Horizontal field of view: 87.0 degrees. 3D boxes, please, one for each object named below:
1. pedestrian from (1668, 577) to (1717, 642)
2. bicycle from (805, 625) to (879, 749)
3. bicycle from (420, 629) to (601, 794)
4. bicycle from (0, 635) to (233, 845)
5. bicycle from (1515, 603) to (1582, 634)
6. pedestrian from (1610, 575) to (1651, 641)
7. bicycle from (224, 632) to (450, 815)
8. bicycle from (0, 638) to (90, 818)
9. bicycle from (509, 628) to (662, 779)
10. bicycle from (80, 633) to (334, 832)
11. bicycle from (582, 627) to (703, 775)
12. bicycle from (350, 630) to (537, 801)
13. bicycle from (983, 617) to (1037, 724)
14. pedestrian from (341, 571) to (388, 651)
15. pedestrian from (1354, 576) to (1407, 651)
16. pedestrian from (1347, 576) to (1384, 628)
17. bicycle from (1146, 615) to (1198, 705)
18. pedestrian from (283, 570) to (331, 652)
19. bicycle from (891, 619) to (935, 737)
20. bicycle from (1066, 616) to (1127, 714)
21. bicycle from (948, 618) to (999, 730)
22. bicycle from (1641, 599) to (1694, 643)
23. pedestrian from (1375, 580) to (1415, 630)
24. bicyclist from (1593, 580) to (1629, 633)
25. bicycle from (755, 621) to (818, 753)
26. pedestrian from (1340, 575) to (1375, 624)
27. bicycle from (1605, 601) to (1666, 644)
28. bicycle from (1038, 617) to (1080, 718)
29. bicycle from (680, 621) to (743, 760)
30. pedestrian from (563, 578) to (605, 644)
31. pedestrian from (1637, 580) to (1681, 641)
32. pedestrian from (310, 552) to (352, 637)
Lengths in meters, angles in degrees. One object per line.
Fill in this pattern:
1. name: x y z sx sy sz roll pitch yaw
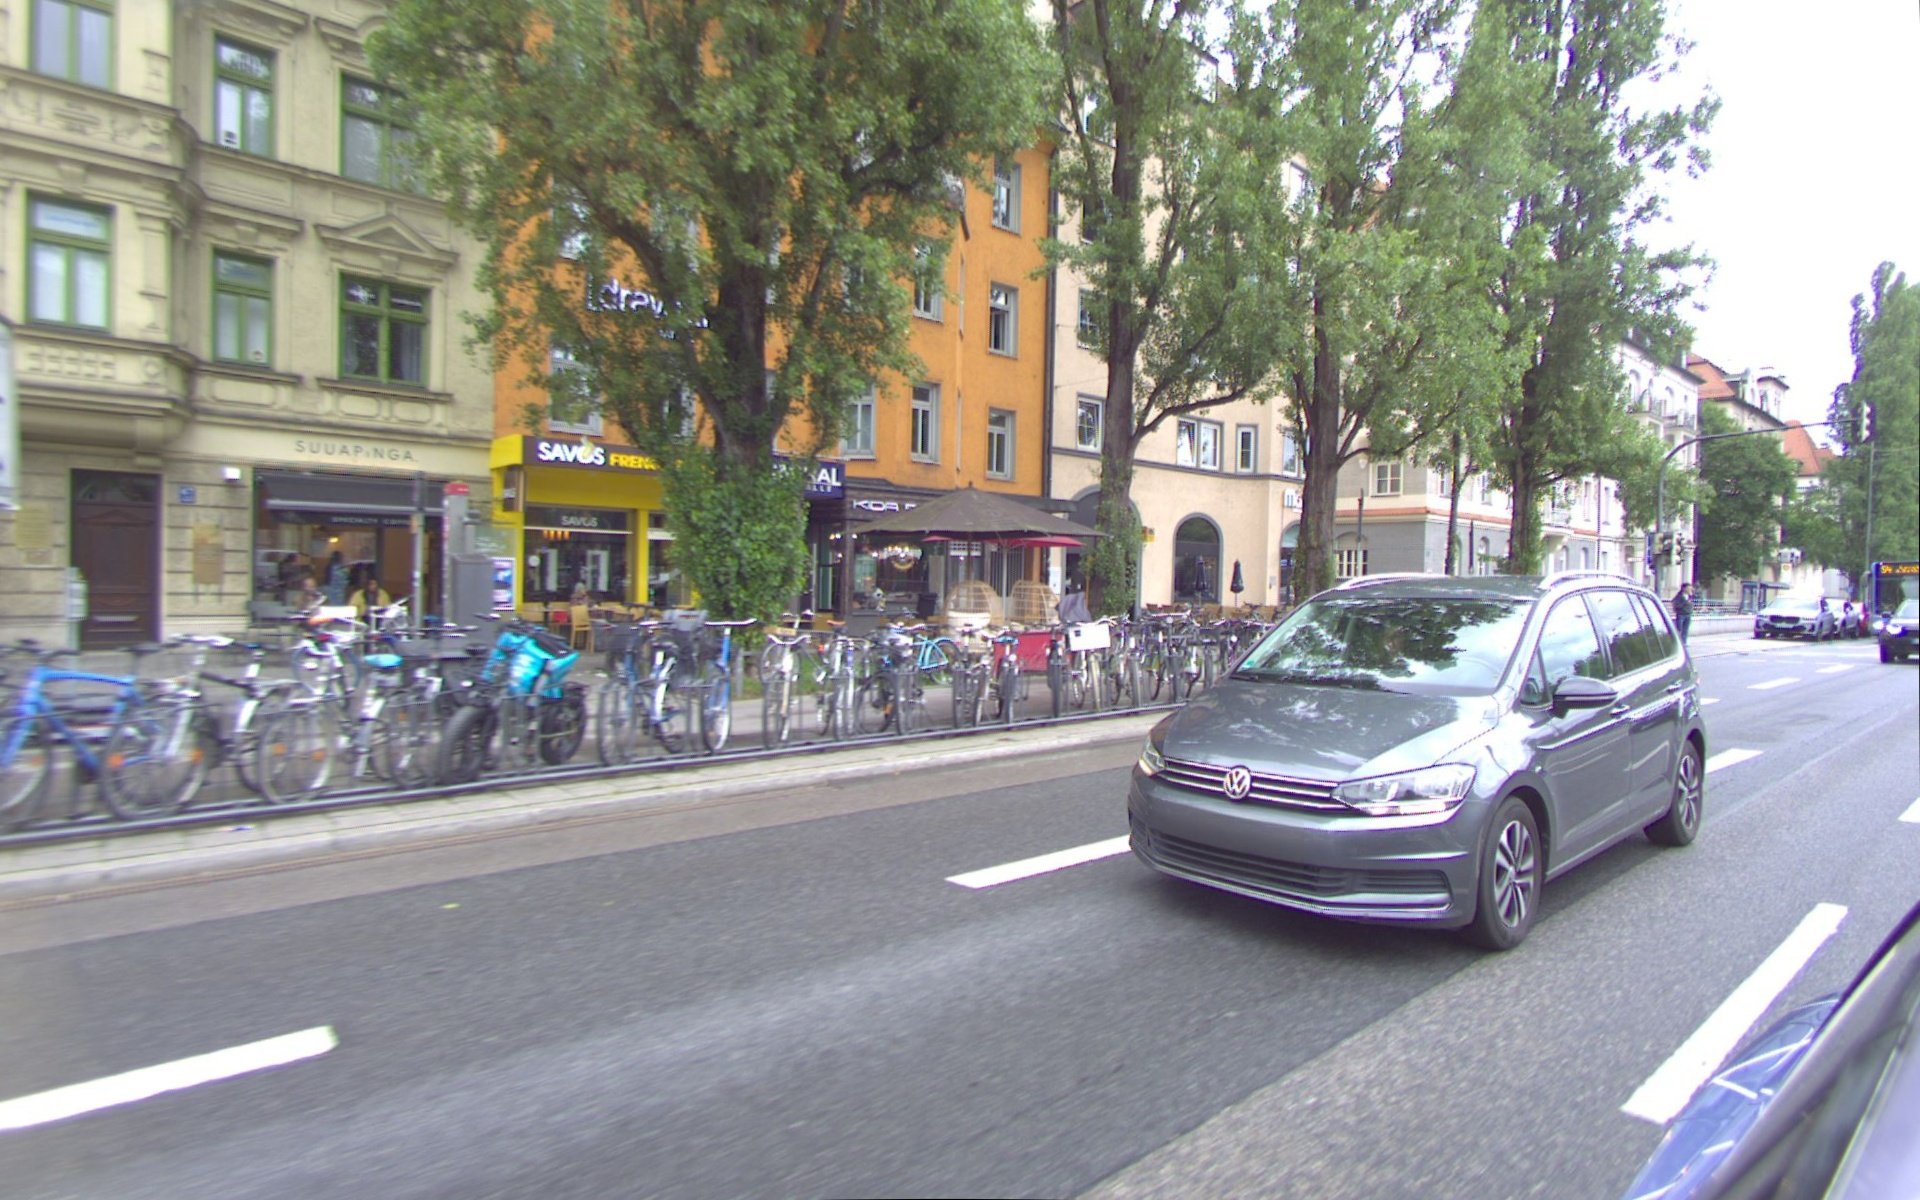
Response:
1. pedestrian: 20.902 0.270 28.872 0.741 1.824 0.883 1 0 -30
2. bicycle: -1.151 0.771 9.609 0.367 1.008 1.846 2 0 -16
3. bicycle: -3.240 0.750 7.476 0.319 1.008 1.839 2 0 6
4. bicycle: -5.153 0.754 6.088 0.319 1.008 1.843 2 0 -4
5. bicycle: 18.632 0.565 32.082 0.385 0.928 1.838 0 1 -38
6. pedestrian: 18.876 0.220 28.495 0.638 1.803 0.702 1 0 -7
7. bicycle: -4.125 0.752 6.870 0.319 1.008 1.841 2 0 2
8. bicycle: -5.696 0.755 5.559 0.319 1.008 1.843 2 0 -4
9. bicycle: -2.904 0.751 8.035 0.319 1.008 1.838 2 0 7
10. bicycle: -4.665 0.753 6.427 0.319 1.008 1.843 2 0 -4
11. bicycle: -2.520 0.749 8.199 0.319 1.008 1.841 2 0 2
12. bicycle: -3.628 0.751 7.275 0.319 1.008 1.841 2 0 2
13. bicycle: 0.519 0.713 10.932 0.368 1.008 1.843 2 0 -3
14. pedestrian: -9.988 0.169 16.977 0.573 1.296 0.584 0 1 -41
15. pedestrian: 9.146 0.289 22.007 0.749 1.582 0.762 1 0 -39
16. pedestrian: 13.739 0.064 34.311 0.999 1.706 0.747 0 1 -40
17. bicycle: 2.635 0.709 12.675 0.368 1.008 1.840 2 0 4
18. pedestrian: -10.622 0.170 16.451 0.573 1.296 0.584 0 1 -41
19. bicycle: -0.475 0.715 10.001 0.368 1.008 1.843 2 0 -3
20. bicycle: 1.558 0.711 11.772 0.368 1.008 1.843 2 0 -2
21. bicycle: 0.116 0.714 10.437 0.368 1.008 1.843 2 0 -3
22. bicycle: 19.798 0.568 28.336 0.353 1.116 1.743 1 2 5
23. pedestrian: 14.237 0.155 33.164 0.806 1.622 0.851 1 1 -26
24. bicyclist: 20.407 0.207 31.719 0.923 1.623 0.681 0 1 -40
25. bicycle: -1.518 0.716 9.033 0.319 1.008 1.843 2 0 -3
26. pedestrian: 14.296 -0.027 36.380 0.999 1.735 0.747 0 1 -40
27. bicycle: 18.869 0.614 28.309 0.352 1.116 1.747 1 2 -6
28. bicycle: 1.092 0.712 11.375 0.368 1.008 1.840 2 0 3
29. bicycle: -2.099 0.714 8.668 0.318 1.008 1.845 2 0 -8
30. pedestrian: -7.233 0.197 19.480 0.573 1.233 0.623 0 1 -41
31. pedestrian: 19.670 0.287 28.482 0.743 1.658 0.700 1 0 7
32. pedestrian: -11.254 -0.108 18.102 0.572 1.493 0.627 0 1 -38
